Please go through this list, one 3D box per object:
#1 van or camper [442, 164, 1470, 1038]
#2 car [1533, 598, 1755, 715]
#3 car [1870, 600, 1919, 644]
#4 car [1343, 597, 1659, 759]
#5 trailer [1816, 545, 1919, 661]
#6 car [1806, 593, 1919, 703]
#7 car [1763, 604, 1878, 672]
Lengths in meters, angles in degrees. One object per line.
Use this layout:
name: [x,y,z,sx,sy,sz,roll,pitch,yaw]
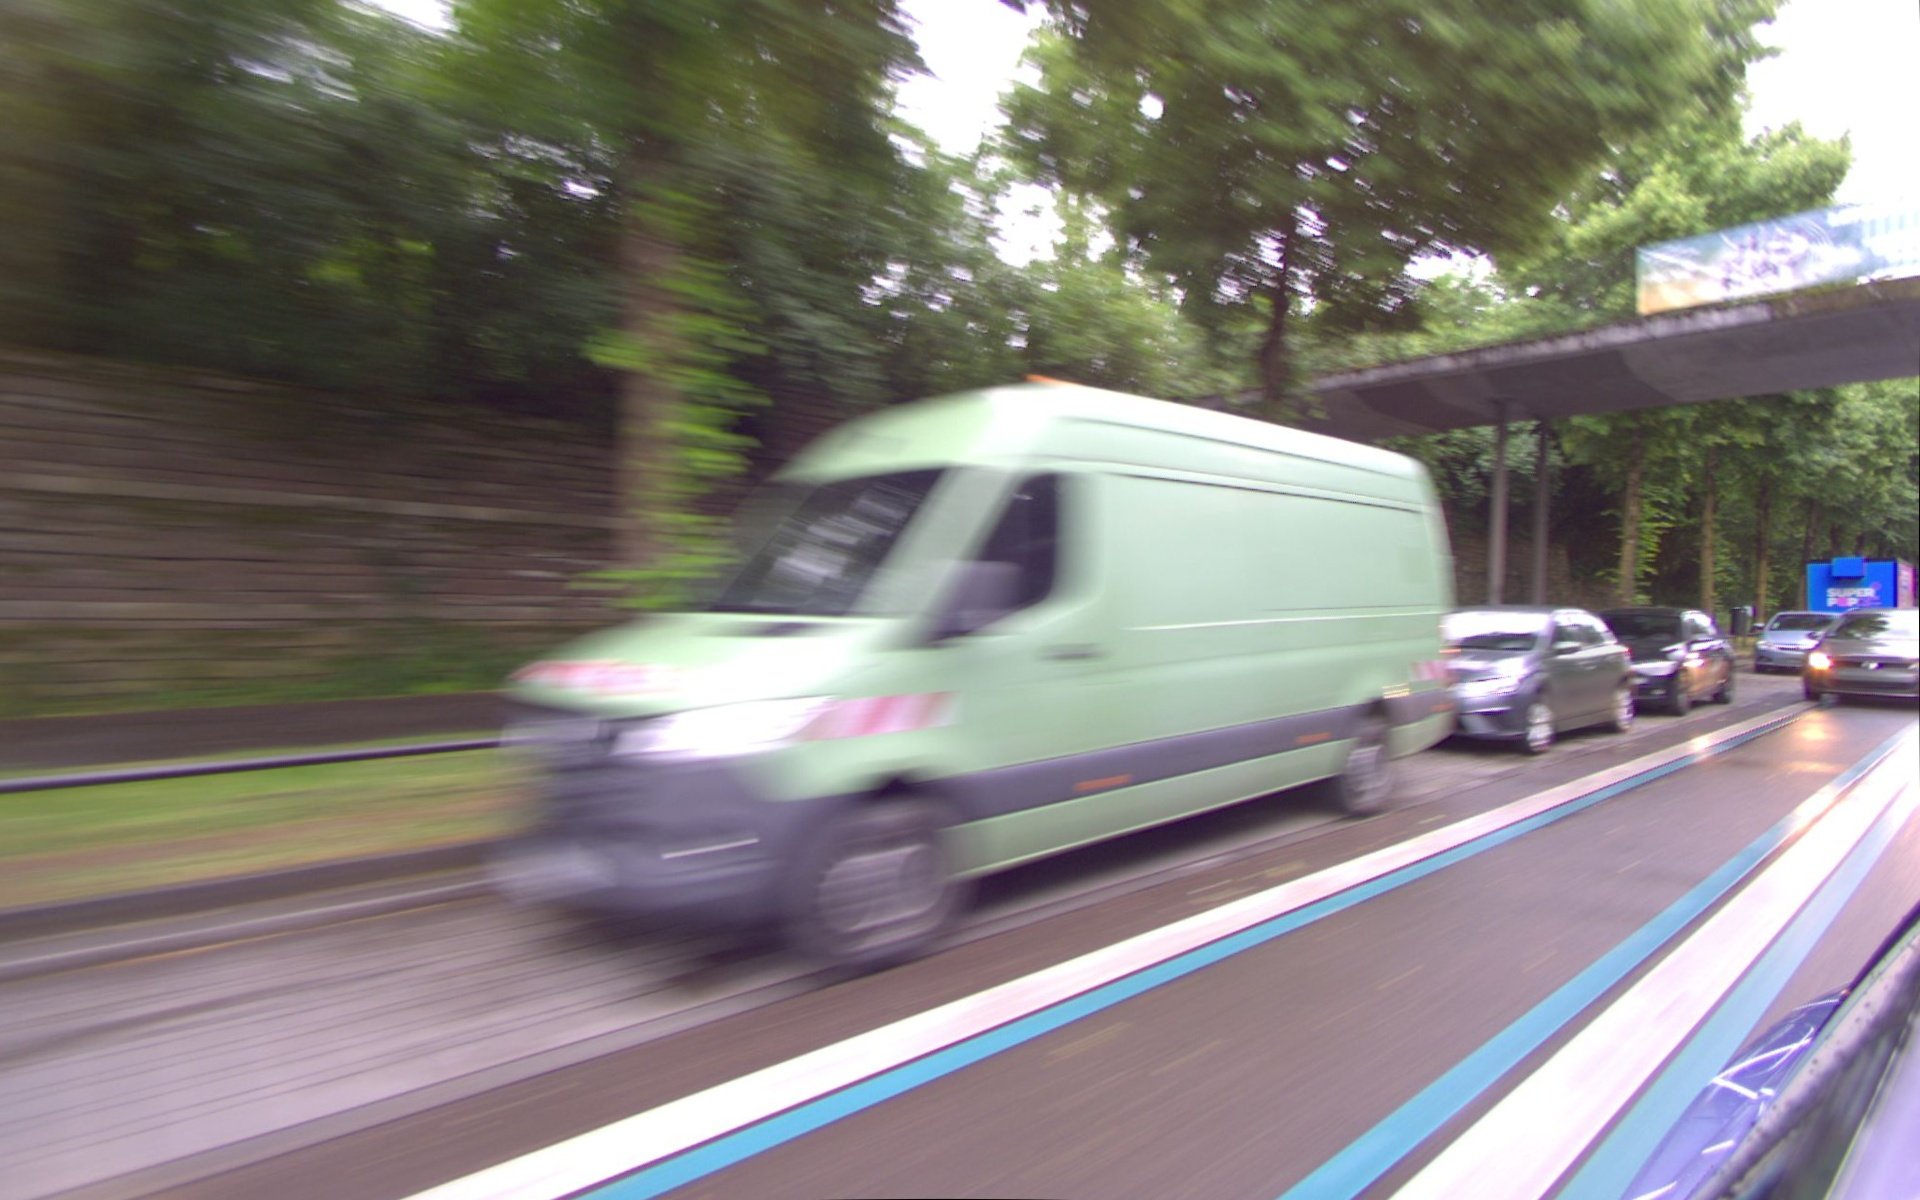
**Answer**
van or camper: [0.761,0.006,6.269,6.783,2.764,2.044,0,-1,-43]
car: [10.023,0.714,14.703,4.124,1.434,1.689,0,1,-41]
car: [34.833,0.775,37.031,4.492,1.522,1.828,0,1,-42]
car: [5.971,0.693,10.978,4.028,1.434,1.689,0,0,-41]
trailer: [24.033,0.060,26.499,3.938,2.793,1.955,0,0,-42]
car: [14.750,0.685,15.741,4.066,1.527,1.821,0,1,-41]
car: [18.919,0.772,22.201,3.799,1.370,1.585,0,0,-44]
